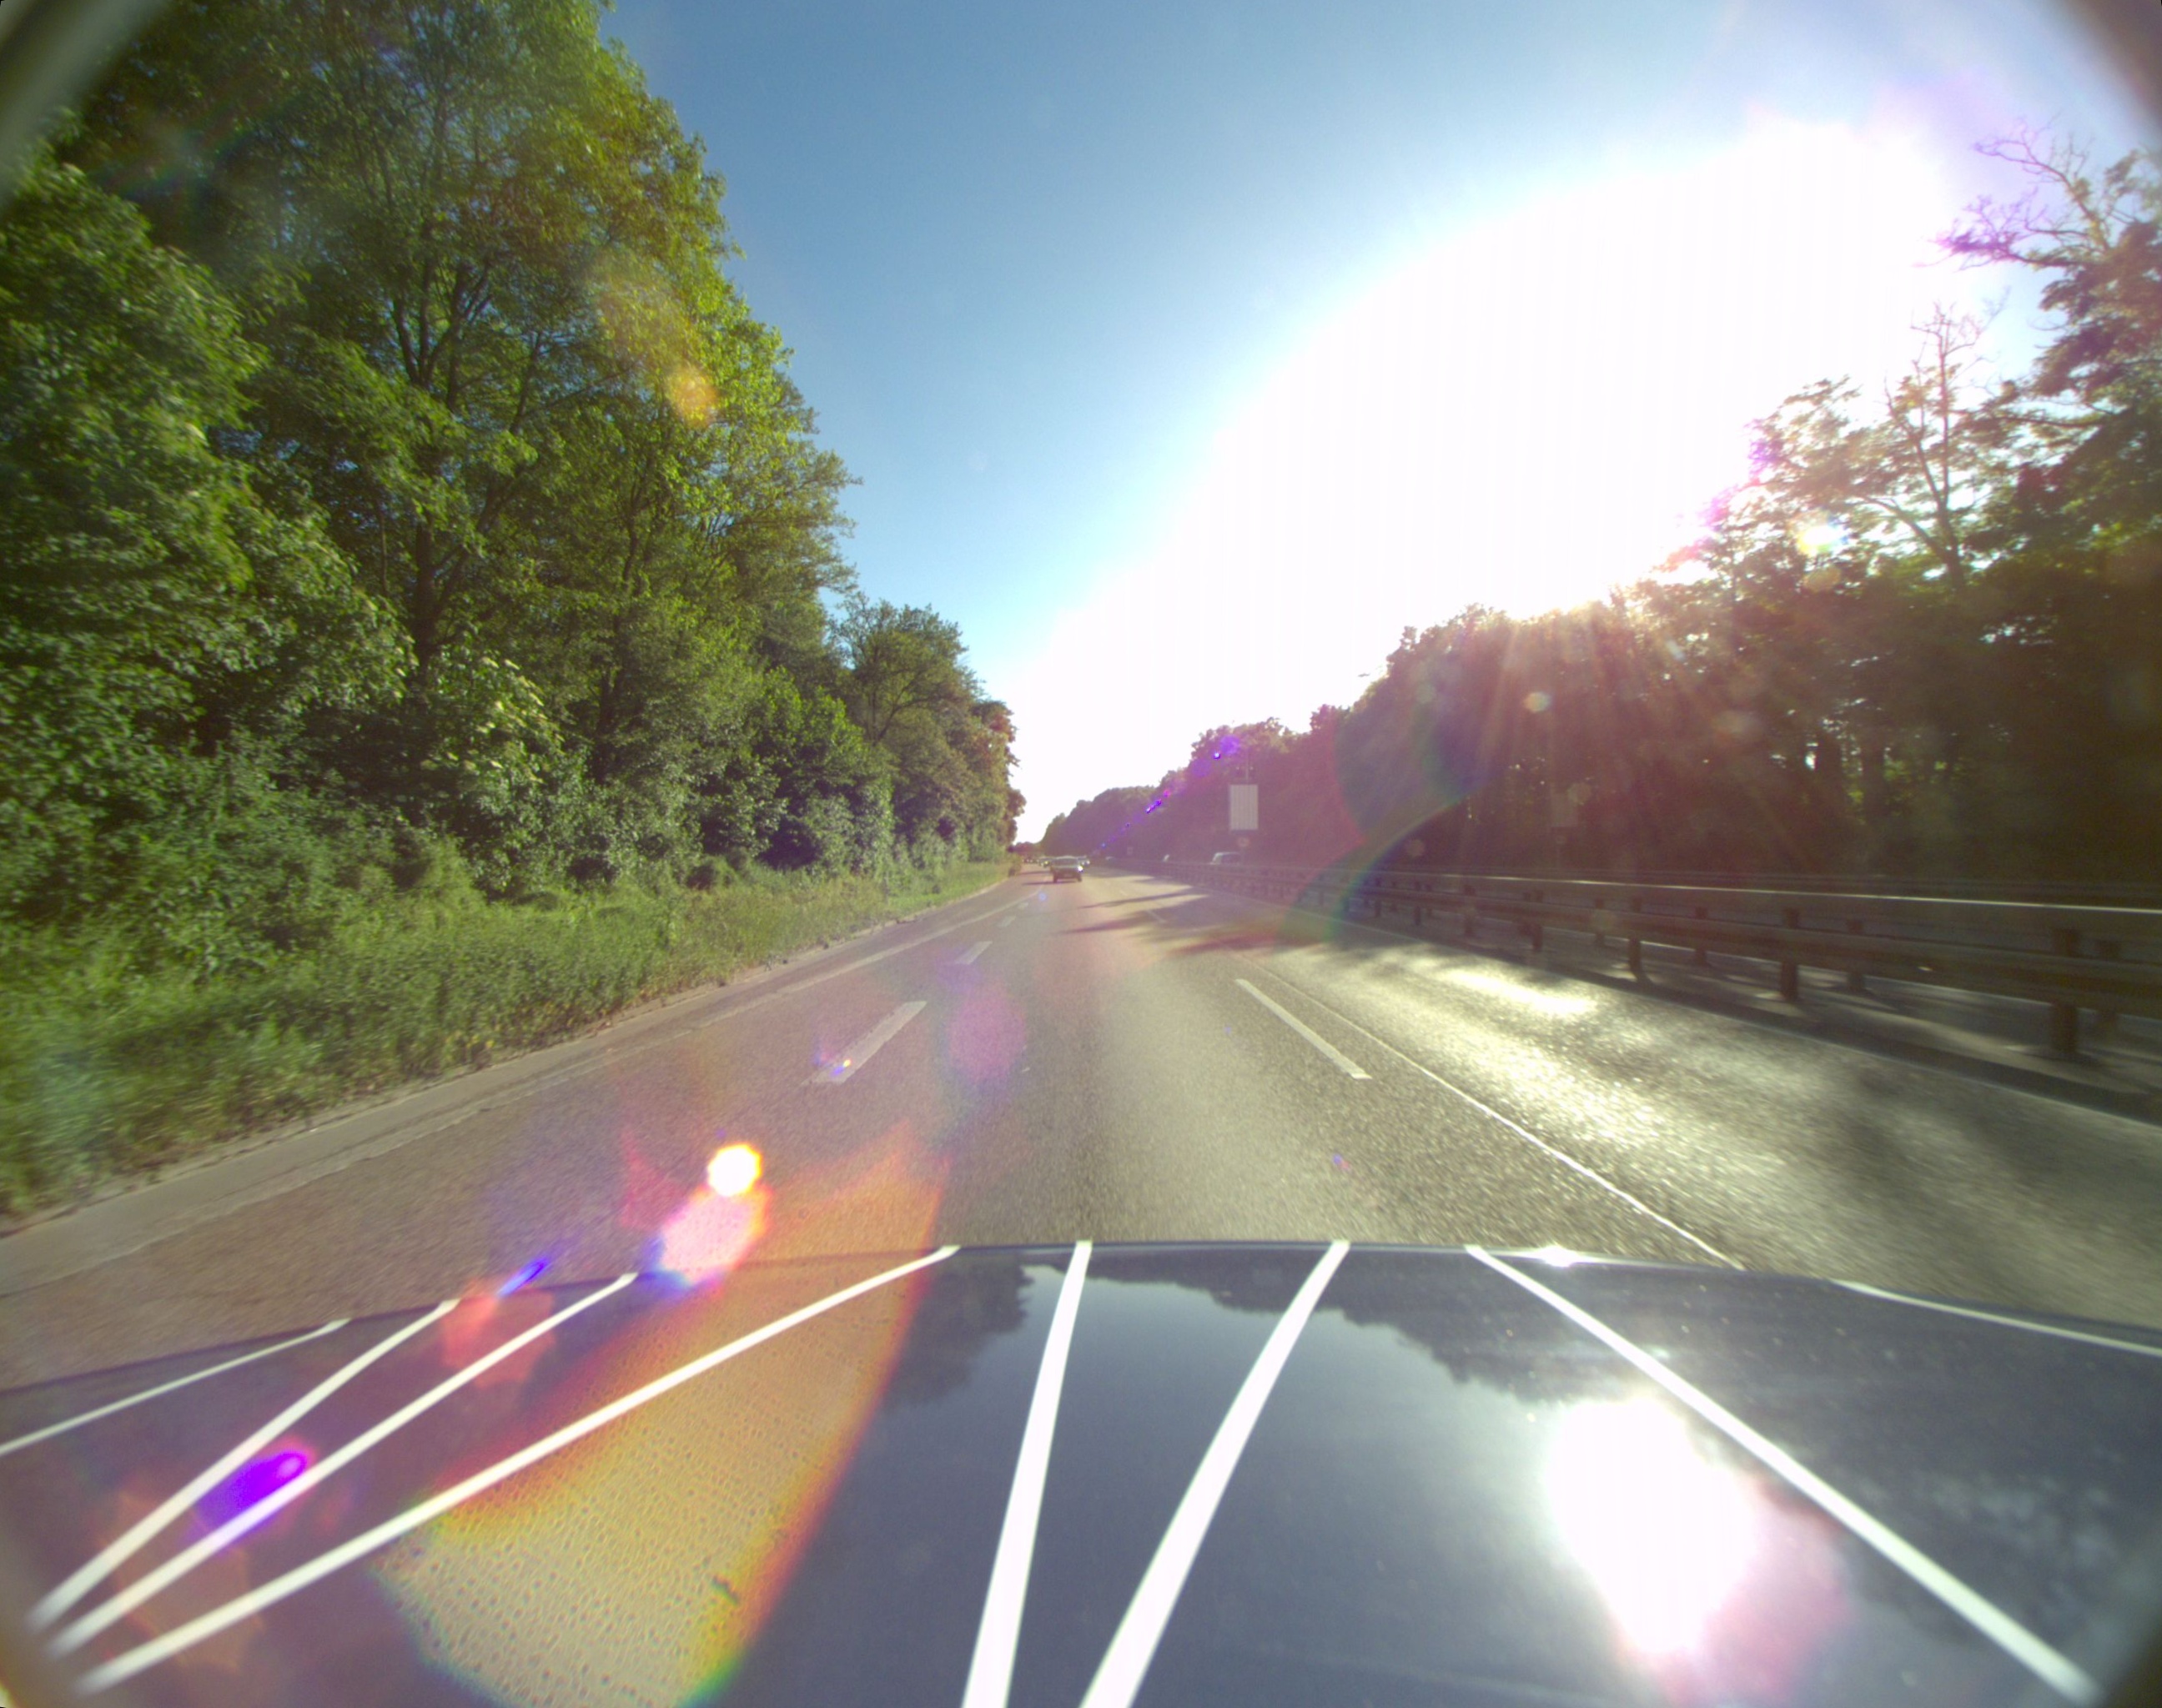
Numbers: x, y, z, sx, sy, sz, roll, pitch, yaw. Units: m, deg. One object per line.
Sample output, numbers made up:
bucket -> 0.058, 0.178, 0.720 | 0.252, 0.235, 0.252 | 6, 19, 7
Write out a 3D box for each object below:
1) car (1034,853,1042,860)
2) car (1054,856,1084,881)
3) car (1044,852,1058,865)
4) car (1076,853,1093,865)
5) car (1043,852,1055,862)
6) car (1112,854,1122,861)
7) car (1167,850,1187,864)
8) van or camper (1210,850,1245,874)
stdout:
car -> -10.171, 0.624, 180.016 | 1.999, 1.761, 3.999 | -1, 0, -3
car -> -0.755, 0.853, 47.566 | 1.801, 1.453, 4.355 | -1, 0, -1
car -> -4.418, 0.645, 112.778 | 1.999, 1.761, 3.999 | -1, 0, -3
car -> 0.460, 0.679, 99.729 | 1.905, 1.453, 4.354 | -1, 0, -4
car -> -5.753, 0.563, 135.055 | 1.999, 1.761, 3.999 | -1, 0, -3
car -> 6.516, 0.636, 138.329 | 1.513, 1.326, 3.386 | -1, 0, -2
car -> 13.006, 0.385, 103.470 | 1.999, 1.868, 4.424 | -1, 0, -2
van or camper -> 11.431, 0.592, 59.576 | 1.876, 1.756, 4.286 | -1, 0, 0
